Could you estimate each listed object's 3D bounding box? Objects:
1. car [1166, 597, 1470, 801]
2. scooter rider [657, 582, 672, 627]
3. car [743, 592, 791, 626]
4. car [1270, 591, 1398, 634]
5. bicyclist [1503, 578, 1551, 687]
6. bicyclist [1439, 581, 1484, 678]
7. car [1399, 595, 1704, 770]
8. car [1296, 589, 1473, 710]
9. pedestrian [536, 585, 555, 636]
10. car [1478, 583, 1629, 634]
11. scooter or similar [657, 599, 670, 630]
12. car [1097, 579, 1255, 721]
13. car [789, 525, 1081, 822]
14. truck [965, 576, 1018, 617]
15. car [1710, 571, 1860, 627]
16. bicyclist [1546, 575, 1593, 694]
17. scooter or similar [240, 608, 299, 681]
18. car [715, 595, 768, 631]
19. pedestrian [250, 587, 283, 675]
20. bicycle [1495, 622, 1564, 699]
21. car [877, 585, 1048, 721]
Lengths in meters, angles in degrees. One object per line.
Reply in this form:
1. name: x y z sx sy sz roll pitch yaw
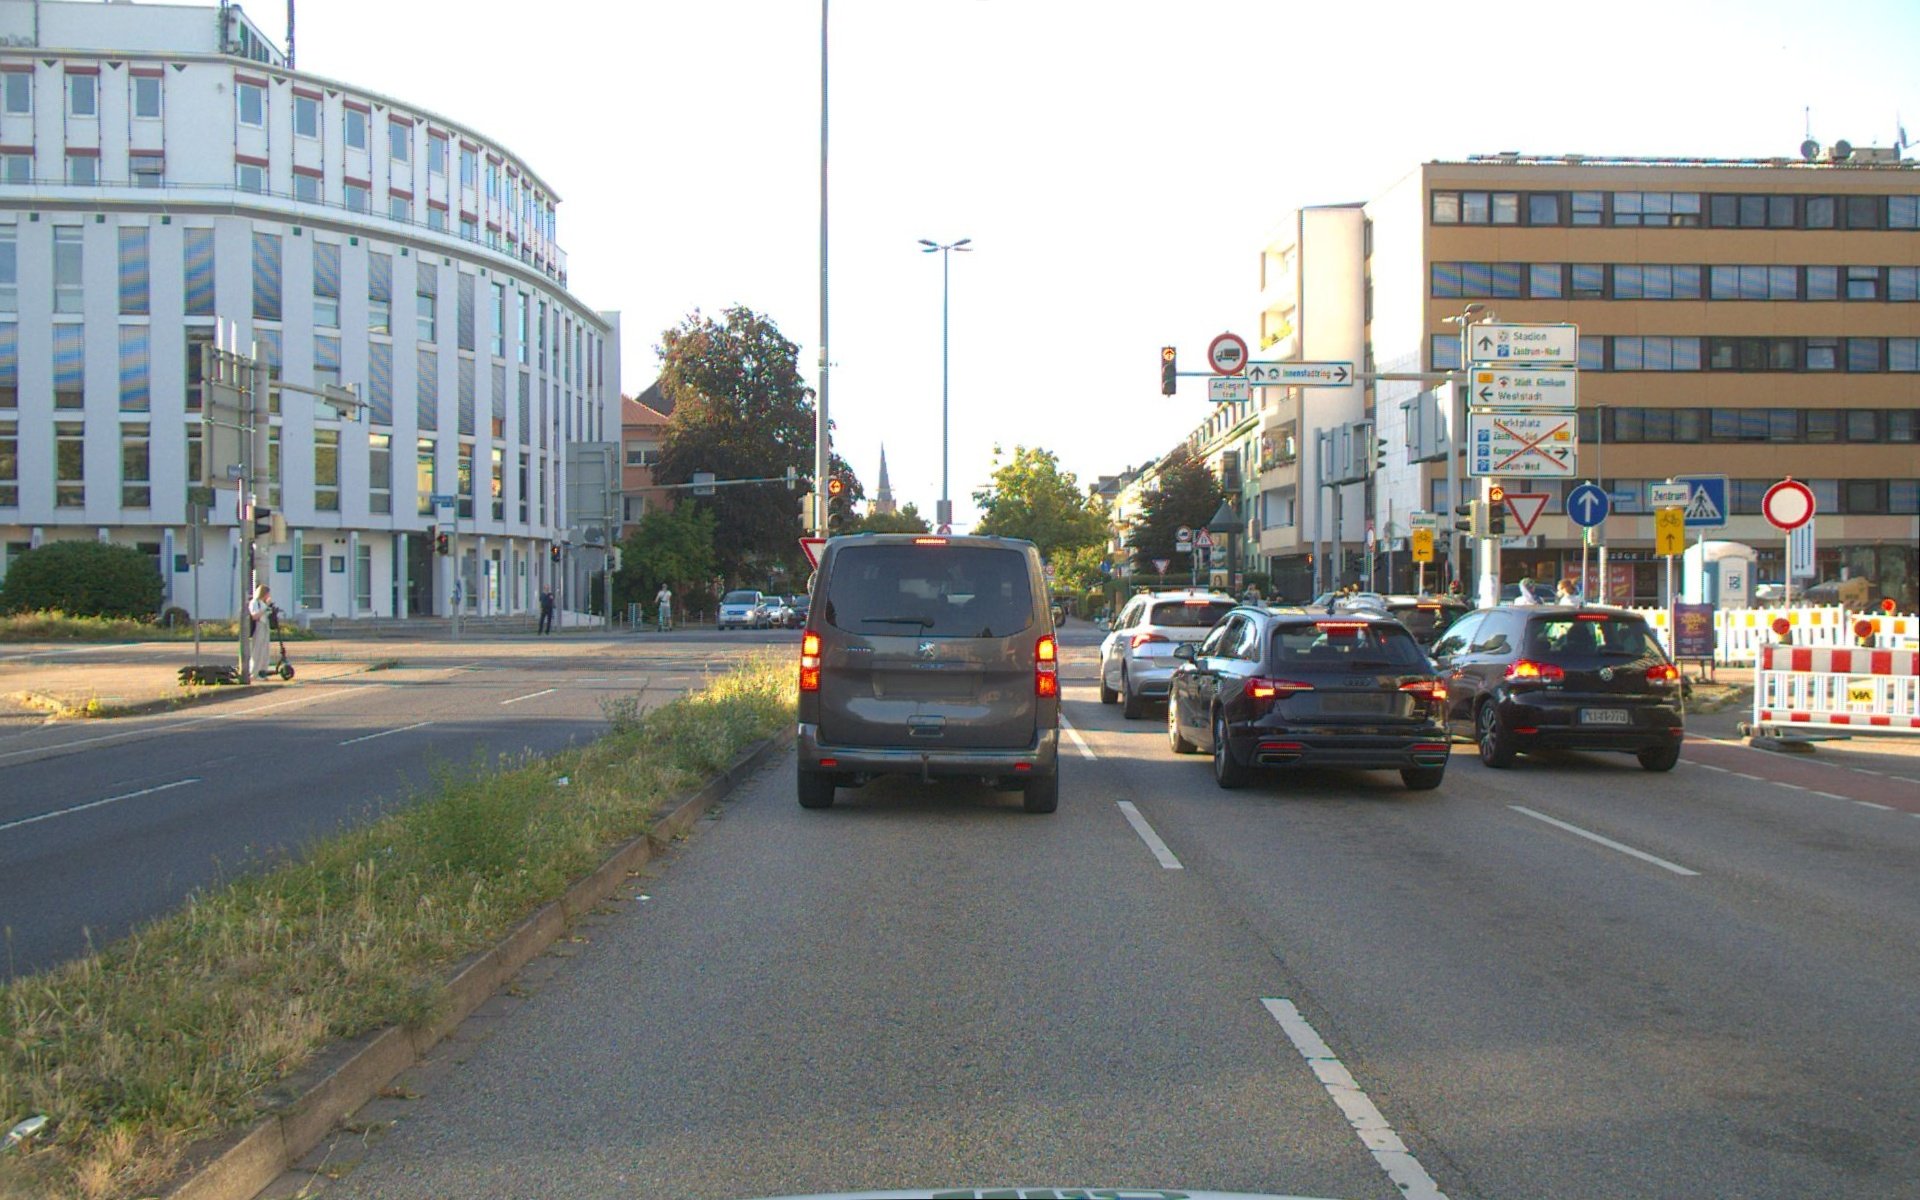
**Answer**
1. car: 2.895 0.722 14.264 1.647 1.446 4.213 1 0 -1
2. scooter rider: -11.570 0.173 64.792 0.471 1.727 0.636 0 0 -1
3. car: -8.699 0.377 74.640 1.818 1.445 3.999 0 0 -2
4. car: 12.757 0.411 56.495 3.910 1.445 1.786 0 0 -6
5. bicyclist: 8.178 0.462 23.876 0.432 1.552 0.725 0 0 -1
6. bicyclist: 8.125 0.475 26.811 0.503 1.552 0.725 0 0 -1
7. car: 5.636 0.712 16.243 1.600 1.474 3.745 1 0 -1
8. car: 5.540 0.599 21.921 1.474 1.474 3.304 0 0 -1
9. pedestrian: -14.415 0.363 57.498 0.615 1.752 0.669 0 0 -14
10. car: 19.070 0.250 53.203 4.258 1.576 1.784 0 0 -9
11. scooter or similar: -11.597 0.570 64.702 0.279 1.209 1.169 0 0 -1
12. car: 2.709 0.579 21.406 1.497 1.641 3.745 1 0 -1
13. car: -0.182 0.464 13.041 1.868 1.896 4.526 1 0 -1
14. truck: 1.659 -0.203 89.670 2.088 2.123 4.622 0 0 -9
15. car: 28.131 -0.027 56.503 4.129 1.849 2.000 0 0 0
16. bicyclist: 8.002 0.447 21.716 0.432 1.552 0.482 0 0 -1
17. scooter or similar: -12.048 0.777 28.868 0.877 1.255 0.370 0 0 -12
18. car: -9.053 0.529 68.815 1.818 1.445 3.999 0 0 -2
19. pedestrian: -12.160 0.537 29.002 0.466 1.532 0.334 0 0 -12
20. bicycle: 8.173 0.854 23.794 0.329 1.025 1.855 0 0 -1
21. car: 0.011 0.592 20.950 1.953 1.557 4.000 0 0 -1
